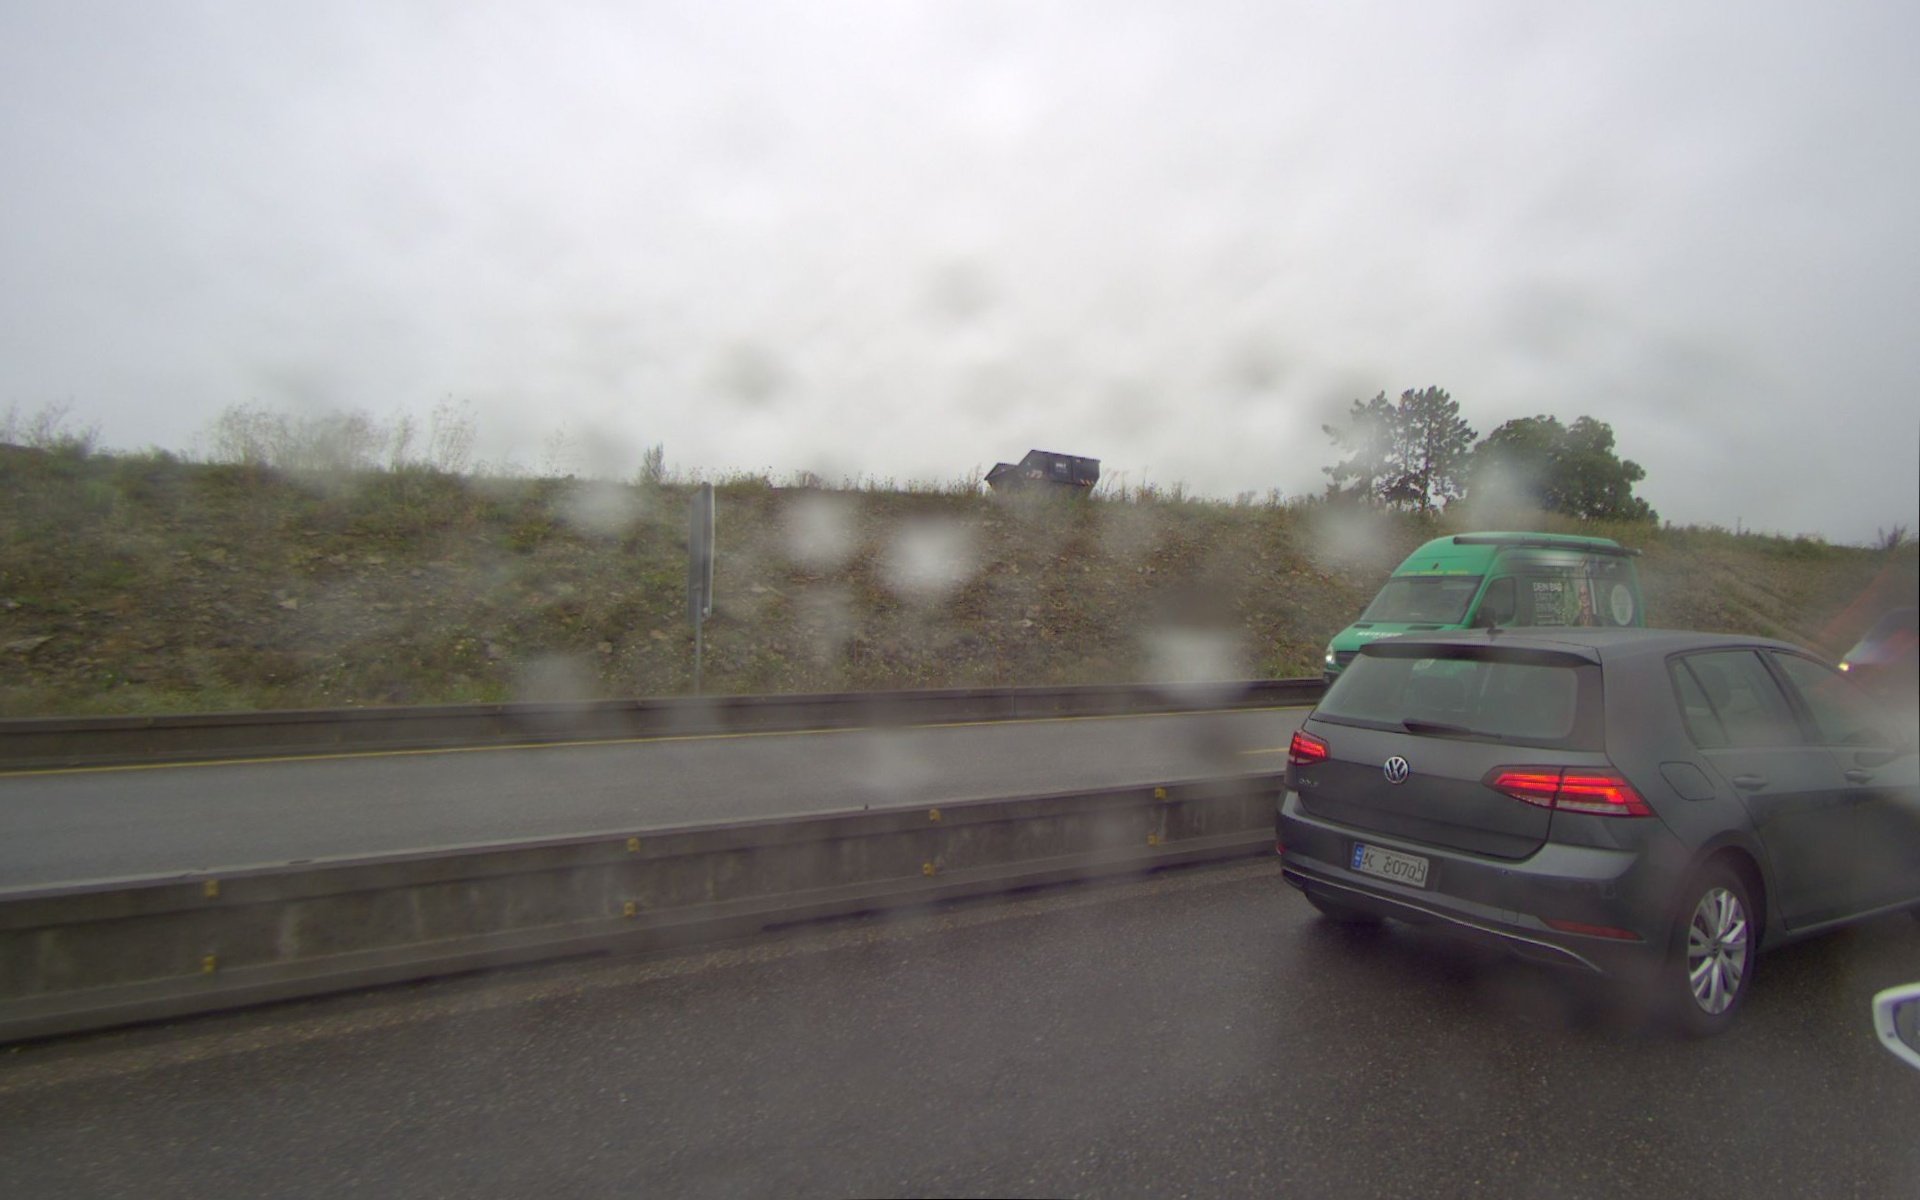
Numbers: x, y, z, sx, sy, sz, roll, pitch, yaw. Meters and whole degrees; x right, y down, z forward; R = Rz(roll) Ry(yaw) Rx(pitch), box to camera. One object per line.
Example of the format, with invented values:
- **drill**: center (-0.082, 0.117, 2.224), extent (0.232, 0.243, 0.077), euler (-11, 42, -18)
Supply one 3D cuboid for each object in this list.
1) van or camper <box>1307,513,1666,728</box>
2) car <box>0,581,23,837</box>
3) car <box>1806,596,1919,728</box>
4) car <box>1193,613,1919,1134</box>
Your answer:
- **van or camper**: center (8.325, 0.314, 15.702), extent (5.872, 2.855, 2.090), euler (1, 1, -30)
- **car**: center (-7.322, 0.637, 4.677), extent (3.998, 1.557, 1.705), euler (1, 0, -30)
- **car**: center (16.217, 0.966, 16.424), extent (5.212, 1.912, 1.991), euler (1, 0, -30)
- **car**: center (3.258, 0.865, 4.780), extent (4.318, 1.526, 1.606), euler (1, -2, -31)
